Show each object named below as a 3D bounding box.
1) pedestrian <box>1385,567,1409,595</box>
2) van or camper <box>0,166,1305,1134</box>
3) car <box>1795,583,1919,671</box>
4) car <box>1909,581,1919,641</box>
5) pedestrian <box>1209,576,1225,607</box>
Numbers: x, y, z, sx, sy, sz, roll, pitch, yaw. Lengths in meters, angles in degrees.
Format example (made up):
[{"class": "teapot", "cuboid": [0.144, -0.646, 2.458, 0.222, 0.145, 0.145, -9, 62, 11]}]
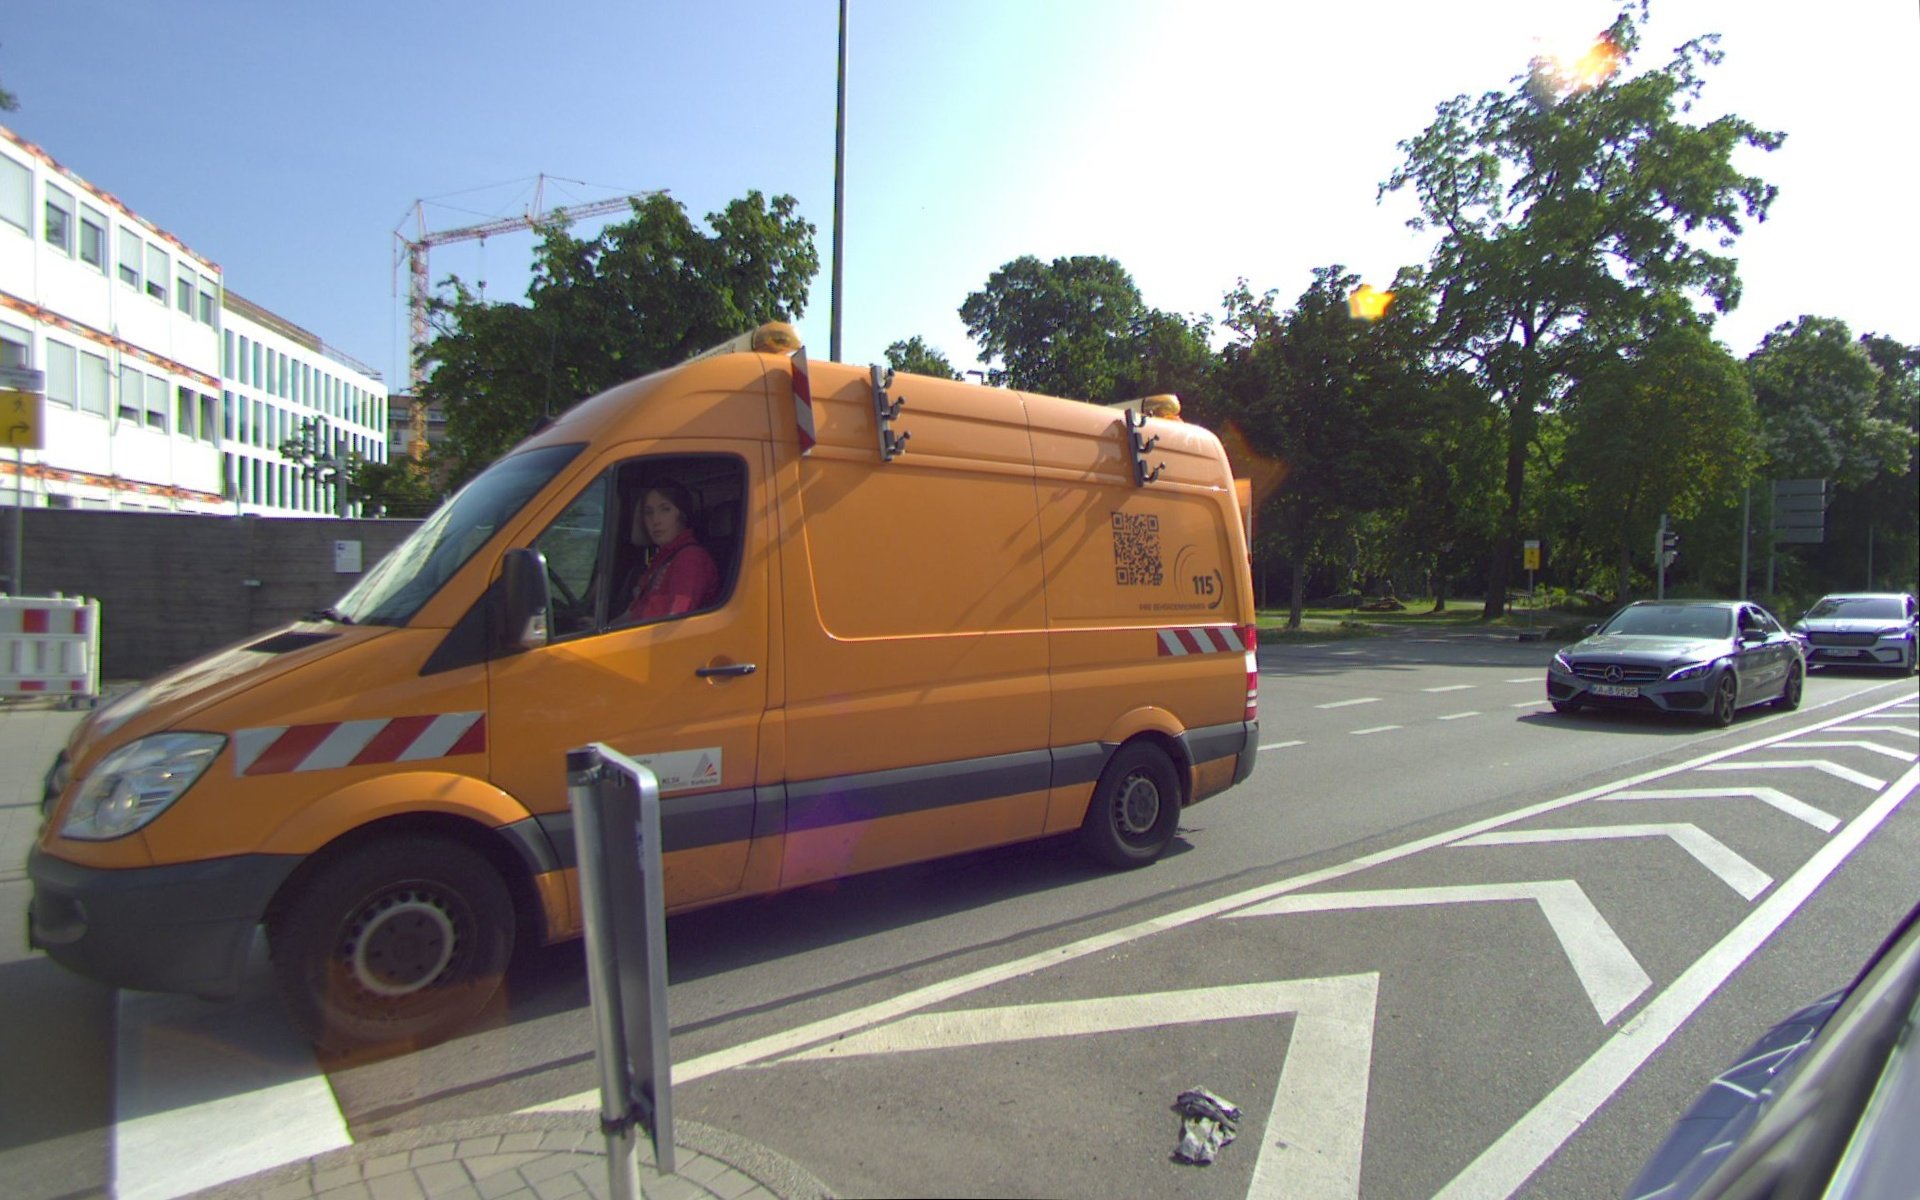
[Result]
[{"class": "pedestrian", "cuboid": [29.131, -1.286, 67.495, 1.048, 1.853, 0.987, 0, 1, -11]}, {"class": "van or camper", "cuboid": [-0.833, 0.097, 5.169, 5.950, 2.503, 1.991, -1, 0, -38]}, {"class": "car", "cuboid": [18.545, 0.462, 20.450, 4.176, 1.590, 1.895, -1, 1, -41]}, {"class": "car", "cuboid": [28.636, 0.295, 28.808, 3.931, 1.660, 1.997, -1, 2, -41]}, {"class": "pedestrian", "cuboid": [12.598, -0.418, 49.567, 0.523, 1.536, 0.671, 0, 1, -9]}]
